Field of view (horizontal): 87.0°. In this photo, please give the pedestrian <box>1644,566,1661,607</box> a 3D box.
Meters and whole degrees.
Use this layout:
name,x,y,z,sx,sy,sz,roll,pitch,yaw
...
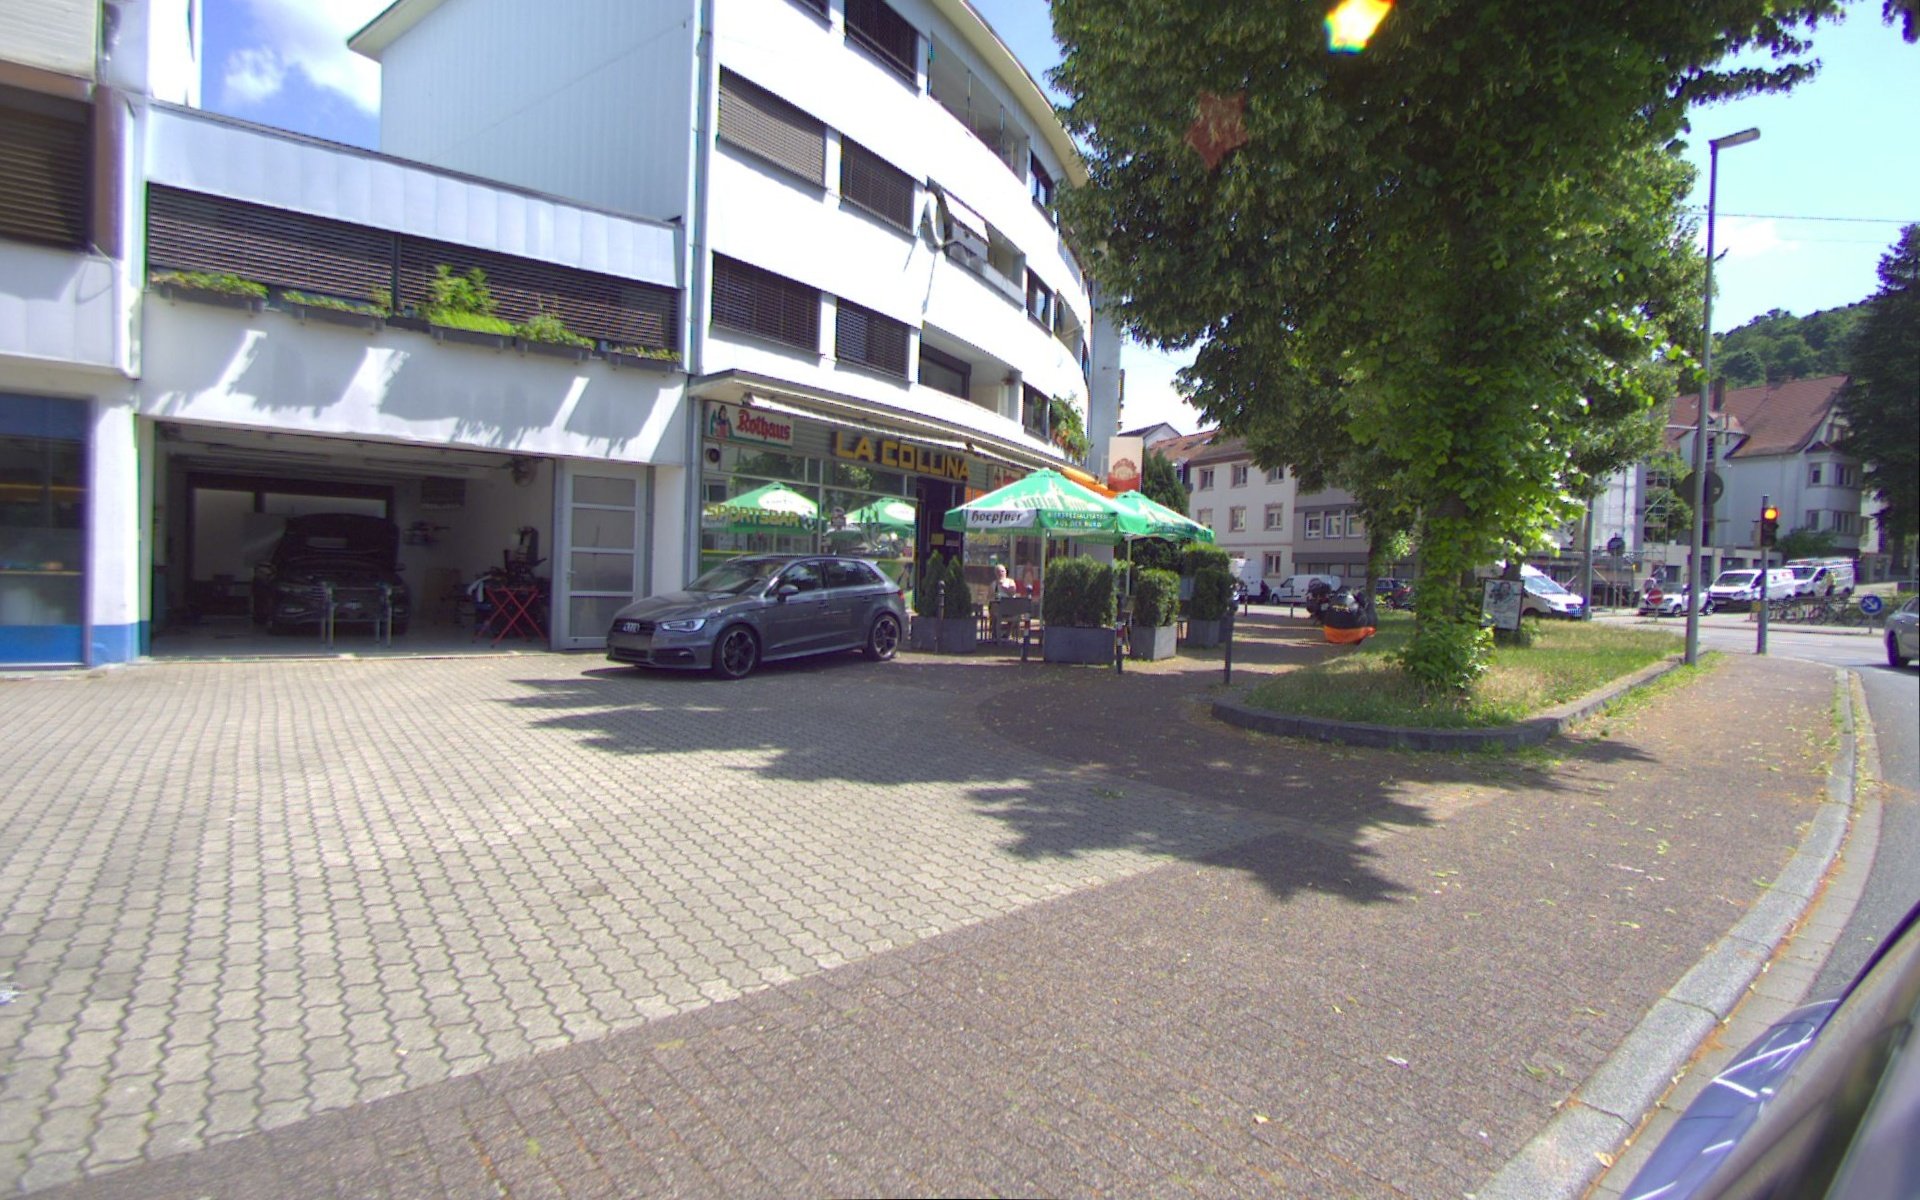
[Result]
name,x,y,z,sx,sy,sz,roll,pitch,yaw
pedestrian,34.390,-0.674,50.263,0.701,2.039,0.618,0,0,35

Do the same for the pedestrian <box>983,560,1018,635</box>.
name,x,y,z,sx,sy,sz,roll,pitch,yaw
pedestrian,0.700,-0.047,17.602,0.565,1.286,0.607,-1,0,-2

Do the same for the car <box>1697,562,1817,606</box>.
name,x,y,z,sx,sy,sz,roll,pitch,yaw
car,39.043,-0.794,49.574,5.269,2.039,2.406,-1,1,-24

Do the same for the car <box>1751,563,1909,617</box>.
name,x,y,z,sx,sy,sz,roll,pitch,yaw
car,35.349,-0.451,41.102,6.241,2.039,2.406,-1,1,-24

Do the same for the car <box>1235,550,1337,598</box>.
name,x,y,z,sx,sy,sz,roll,pitch,yaw
car,17.501,-1.387,54.643,2.211,2.440,5.455,-1,1,-24

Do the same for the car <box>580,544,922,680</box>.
name,x,y,z,sx,sy,sz,roll,pitch,yaw
car,-2.435,0.070,12.786,1.703,1.417,4.229,1,2,35

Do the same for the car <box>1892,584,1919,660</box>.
name,x,y,z,sx,sy,sz,roll,pitch,yaw
car,18.101,0.435,17.549,1.803,1.396,4.348,1,2,29

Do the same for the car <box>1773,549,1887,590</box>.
name,x,y,z,sx,sy,sz,roll,pitch,yaw
car,44.967,-1.566,52.311,5.269,2.039,2.406,-1,1,-24

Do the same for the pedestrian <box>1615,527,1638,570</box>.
name,x,y,z,sx,sy,sz,roll,pitch,yaw
pedestrian,31.763,-2.457,48.217,0.691,2.039,0.627,-1,0,-27

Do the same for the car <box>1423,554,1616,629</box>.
name,x,y,z,sx,sy,sz,roll,pitch,yaw
car,18.394,-0.304,33.619,1.959,2.300,5.453,-1,1,-26

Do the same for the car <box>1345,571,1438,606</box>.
name,x,y,z,sx,sy,sz,roll,pitch,yaw
car,20.096,-0.532,47.258,1.729,1.549,3.844,-1,1,-24

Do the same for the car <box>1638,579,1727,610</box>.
name,x,y,z,sx,sy,sz,roll,pitch,yaw
car,33.770,-0.283,47.277,4.070,1.386,1.535,-1,1,-24
